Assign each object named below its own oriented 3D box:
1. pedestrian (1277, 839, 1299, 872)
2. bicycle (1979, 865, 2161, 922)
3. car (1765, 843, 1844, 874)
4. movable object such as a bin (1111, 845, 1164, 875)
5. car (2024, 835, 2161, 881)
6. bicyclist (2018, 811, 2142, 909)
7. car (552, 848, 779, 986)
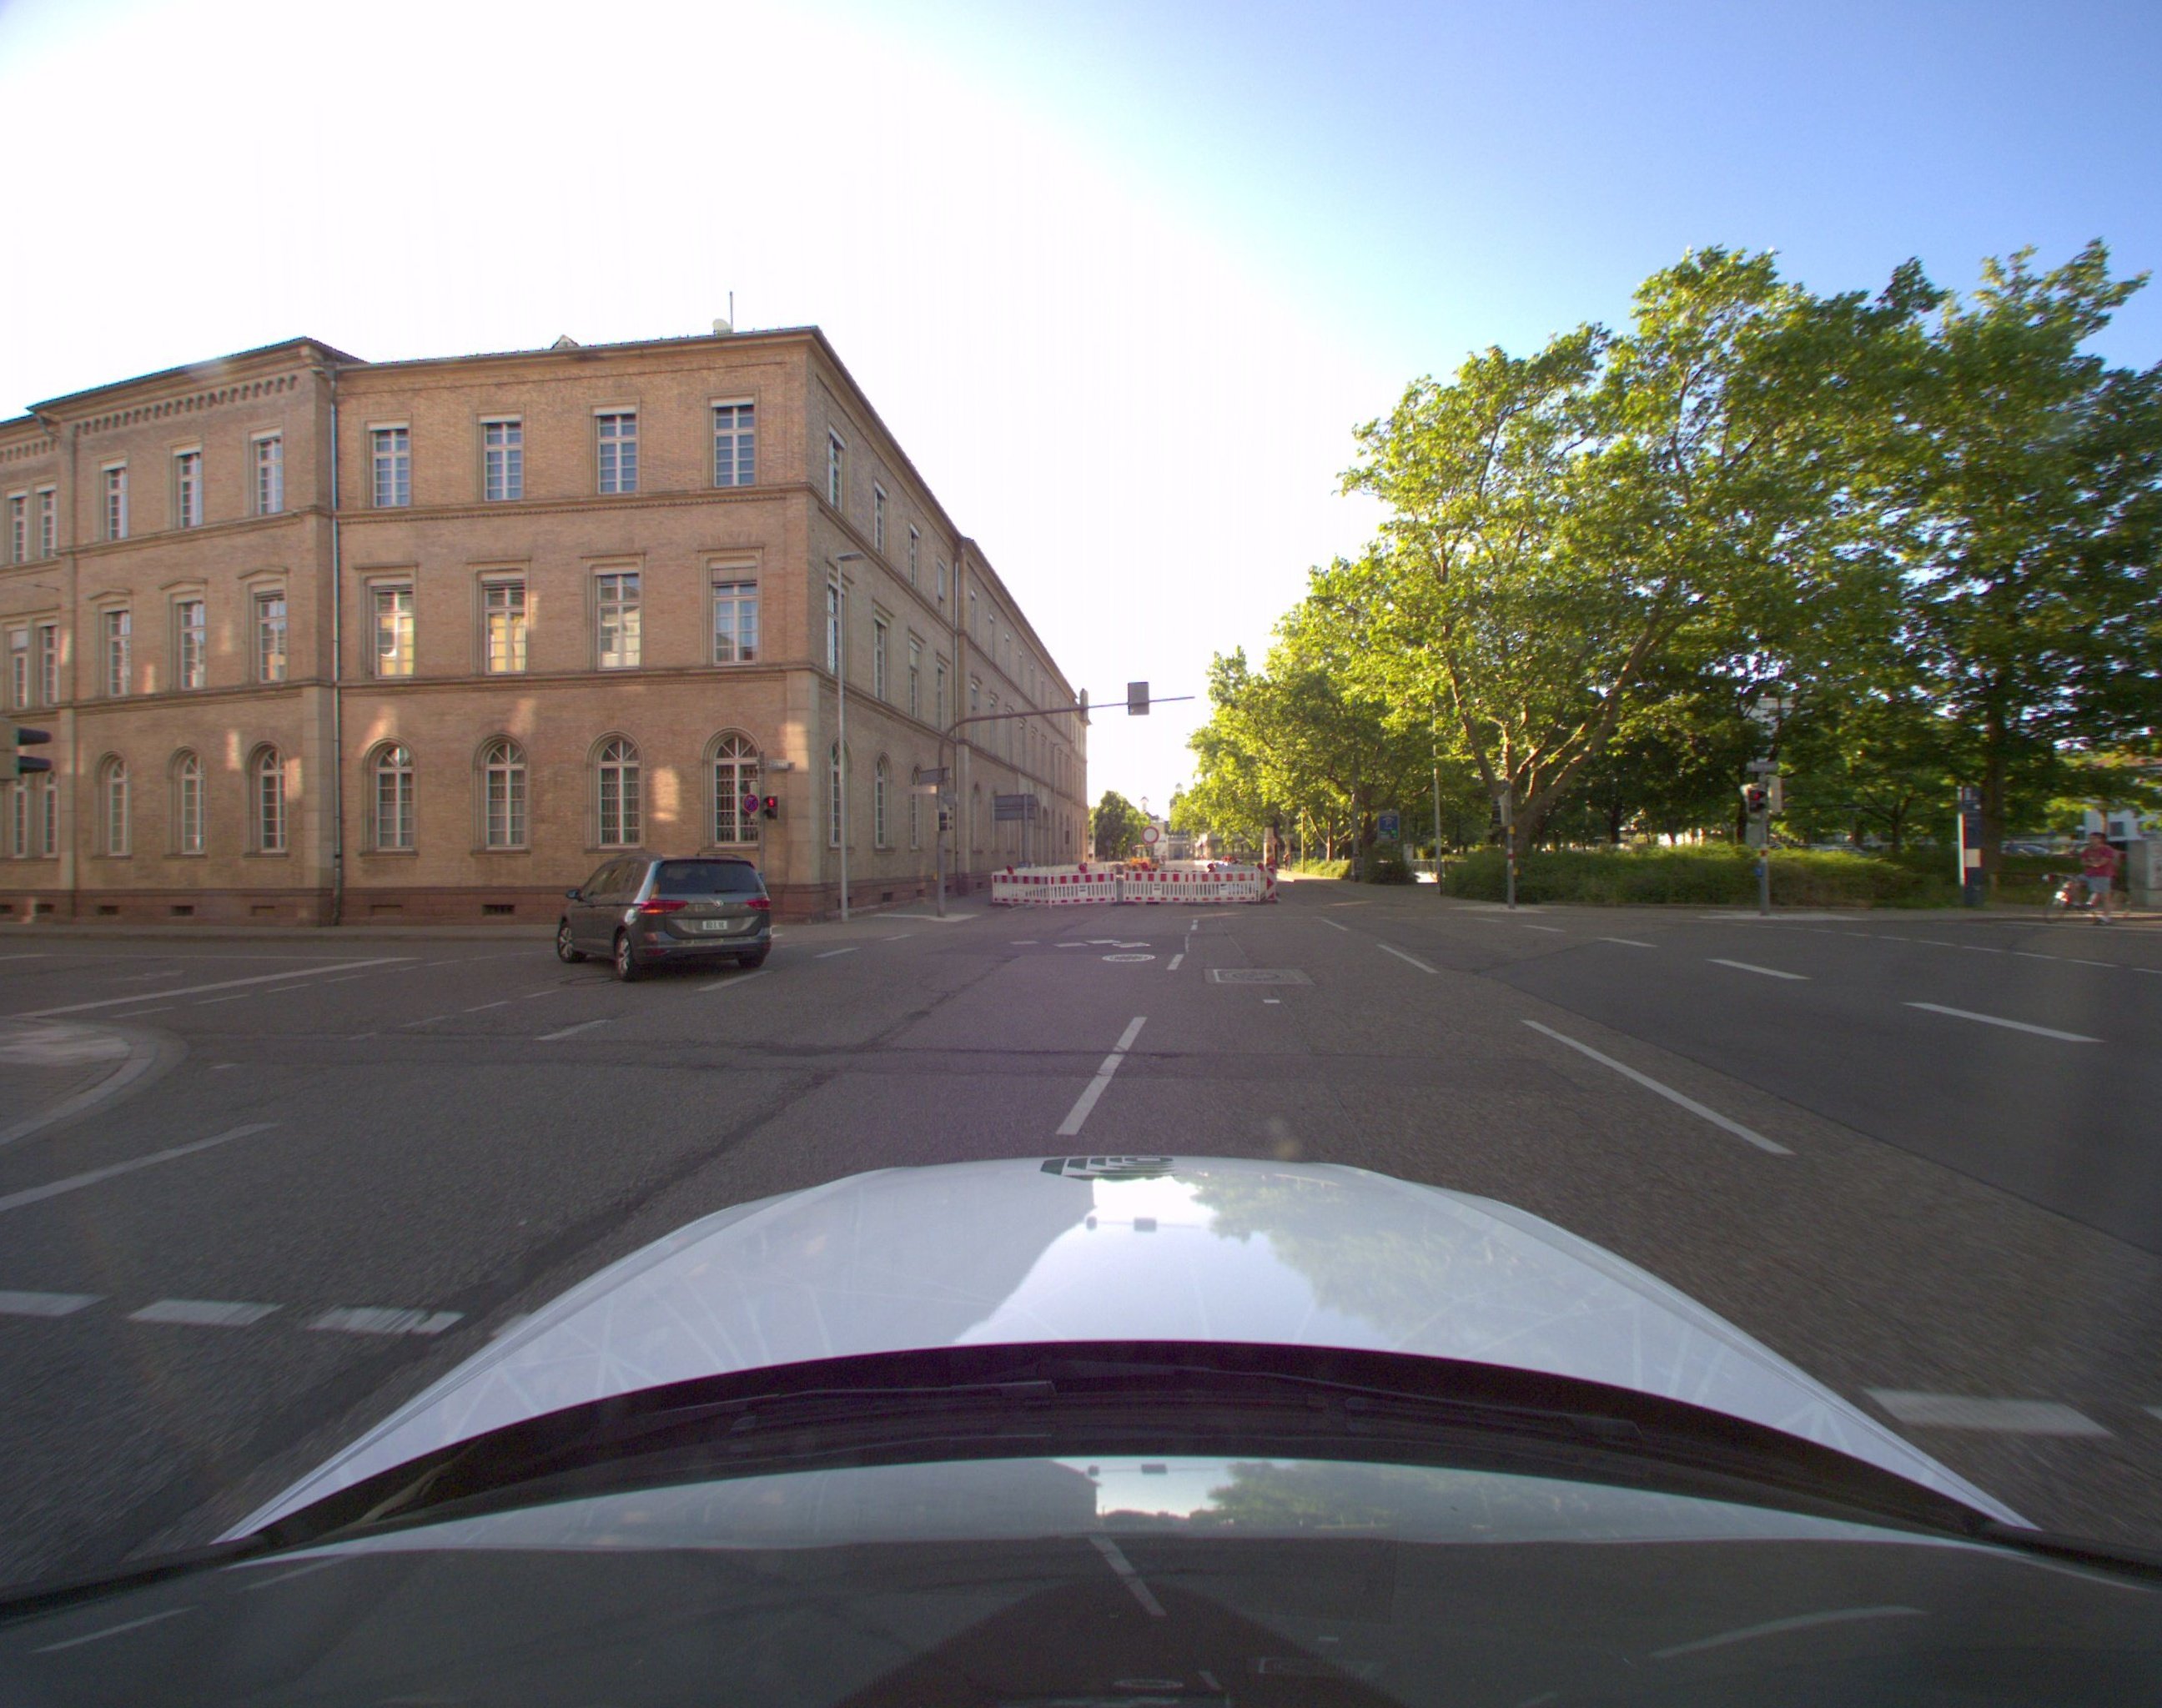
[{"bbox_3d":[16.890,0.146,66.499,1.405,2.667,1.155,-1,-1,35],"label":"pedestrian"},{"bbox_3d":[19.359,0.748,15.672,2.983,1.038,0.943,-1,-1,3],"label":"bicycle"},{"bbox_3d":[44.514,0.290,50.219,1.979,1.779,4.015,-1,-1,14],"label":"car"},{"bbox_3d":[5.452,0.576,78.929,2.487,2.777,4.784,0,-1,-41],"label":"movable object such as a bin"},{"bbox_3d":[42.455,0.177,33.897,1.983,1.779,4.007,-1,-1,7],"label":"car"},{"bbox_3d":[19.184,0.116,15.672,1.123,1.808,0.979,-1,-1,4],"label":"bicyclist"},{"bbox_3d":[-6.028,0.746,11.605,1.778,1.607,3.951,-1,1,-44],"label":"car"}]
